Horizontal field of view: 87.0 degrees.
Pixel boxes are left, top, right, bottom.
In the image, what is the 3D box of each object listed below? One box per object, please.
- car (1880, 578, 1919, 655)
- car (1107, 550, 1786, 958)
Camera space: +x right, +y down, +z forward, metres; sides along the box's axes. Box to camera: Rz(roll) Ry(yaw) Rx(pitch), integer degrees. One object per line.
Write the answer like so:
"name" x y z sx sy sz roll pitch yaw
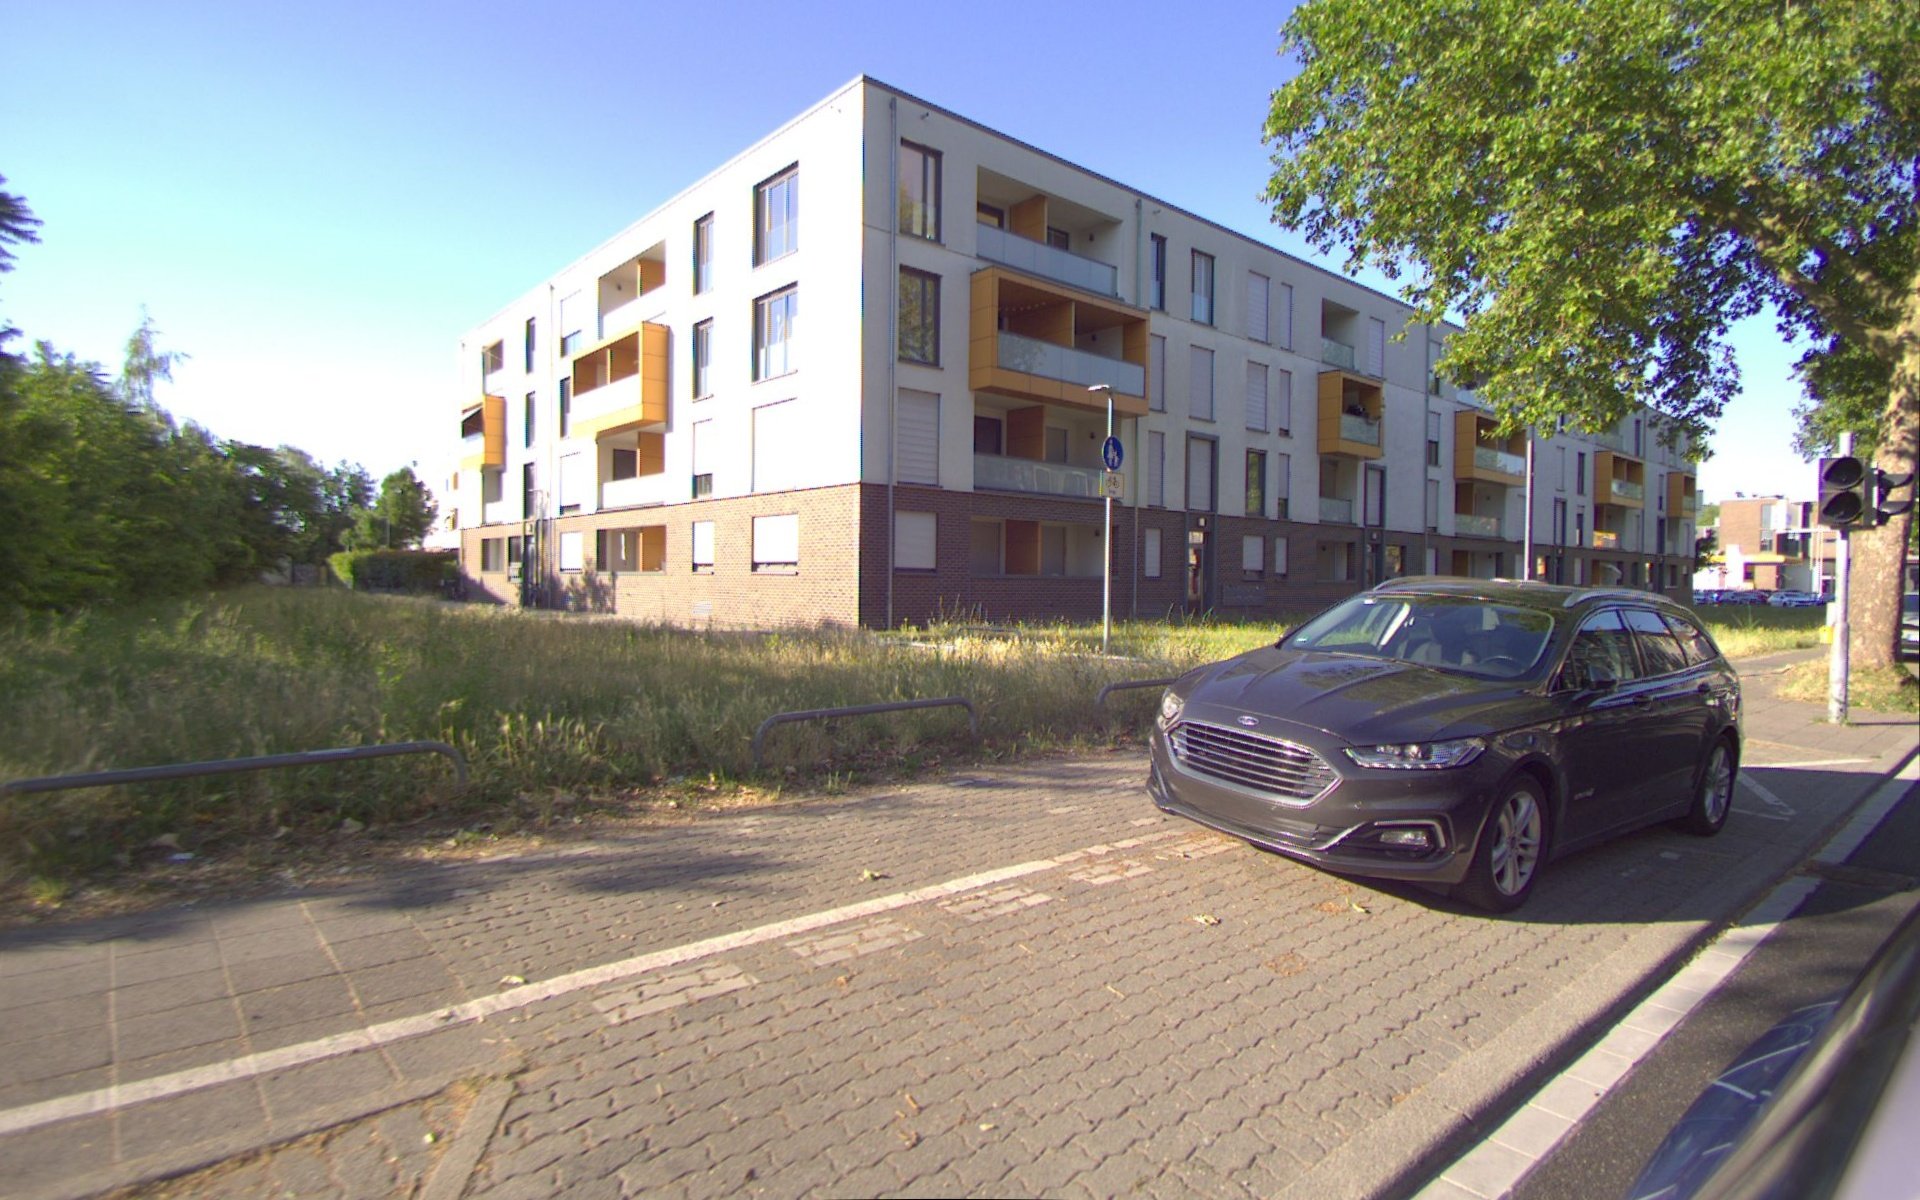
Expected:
"car" 22.450 0.366 22.929 4.015 1.632 1.869 0 3 -41
"car" 3.104 0.545 5.942 4.611 1.499 1.705 0 4 -39
